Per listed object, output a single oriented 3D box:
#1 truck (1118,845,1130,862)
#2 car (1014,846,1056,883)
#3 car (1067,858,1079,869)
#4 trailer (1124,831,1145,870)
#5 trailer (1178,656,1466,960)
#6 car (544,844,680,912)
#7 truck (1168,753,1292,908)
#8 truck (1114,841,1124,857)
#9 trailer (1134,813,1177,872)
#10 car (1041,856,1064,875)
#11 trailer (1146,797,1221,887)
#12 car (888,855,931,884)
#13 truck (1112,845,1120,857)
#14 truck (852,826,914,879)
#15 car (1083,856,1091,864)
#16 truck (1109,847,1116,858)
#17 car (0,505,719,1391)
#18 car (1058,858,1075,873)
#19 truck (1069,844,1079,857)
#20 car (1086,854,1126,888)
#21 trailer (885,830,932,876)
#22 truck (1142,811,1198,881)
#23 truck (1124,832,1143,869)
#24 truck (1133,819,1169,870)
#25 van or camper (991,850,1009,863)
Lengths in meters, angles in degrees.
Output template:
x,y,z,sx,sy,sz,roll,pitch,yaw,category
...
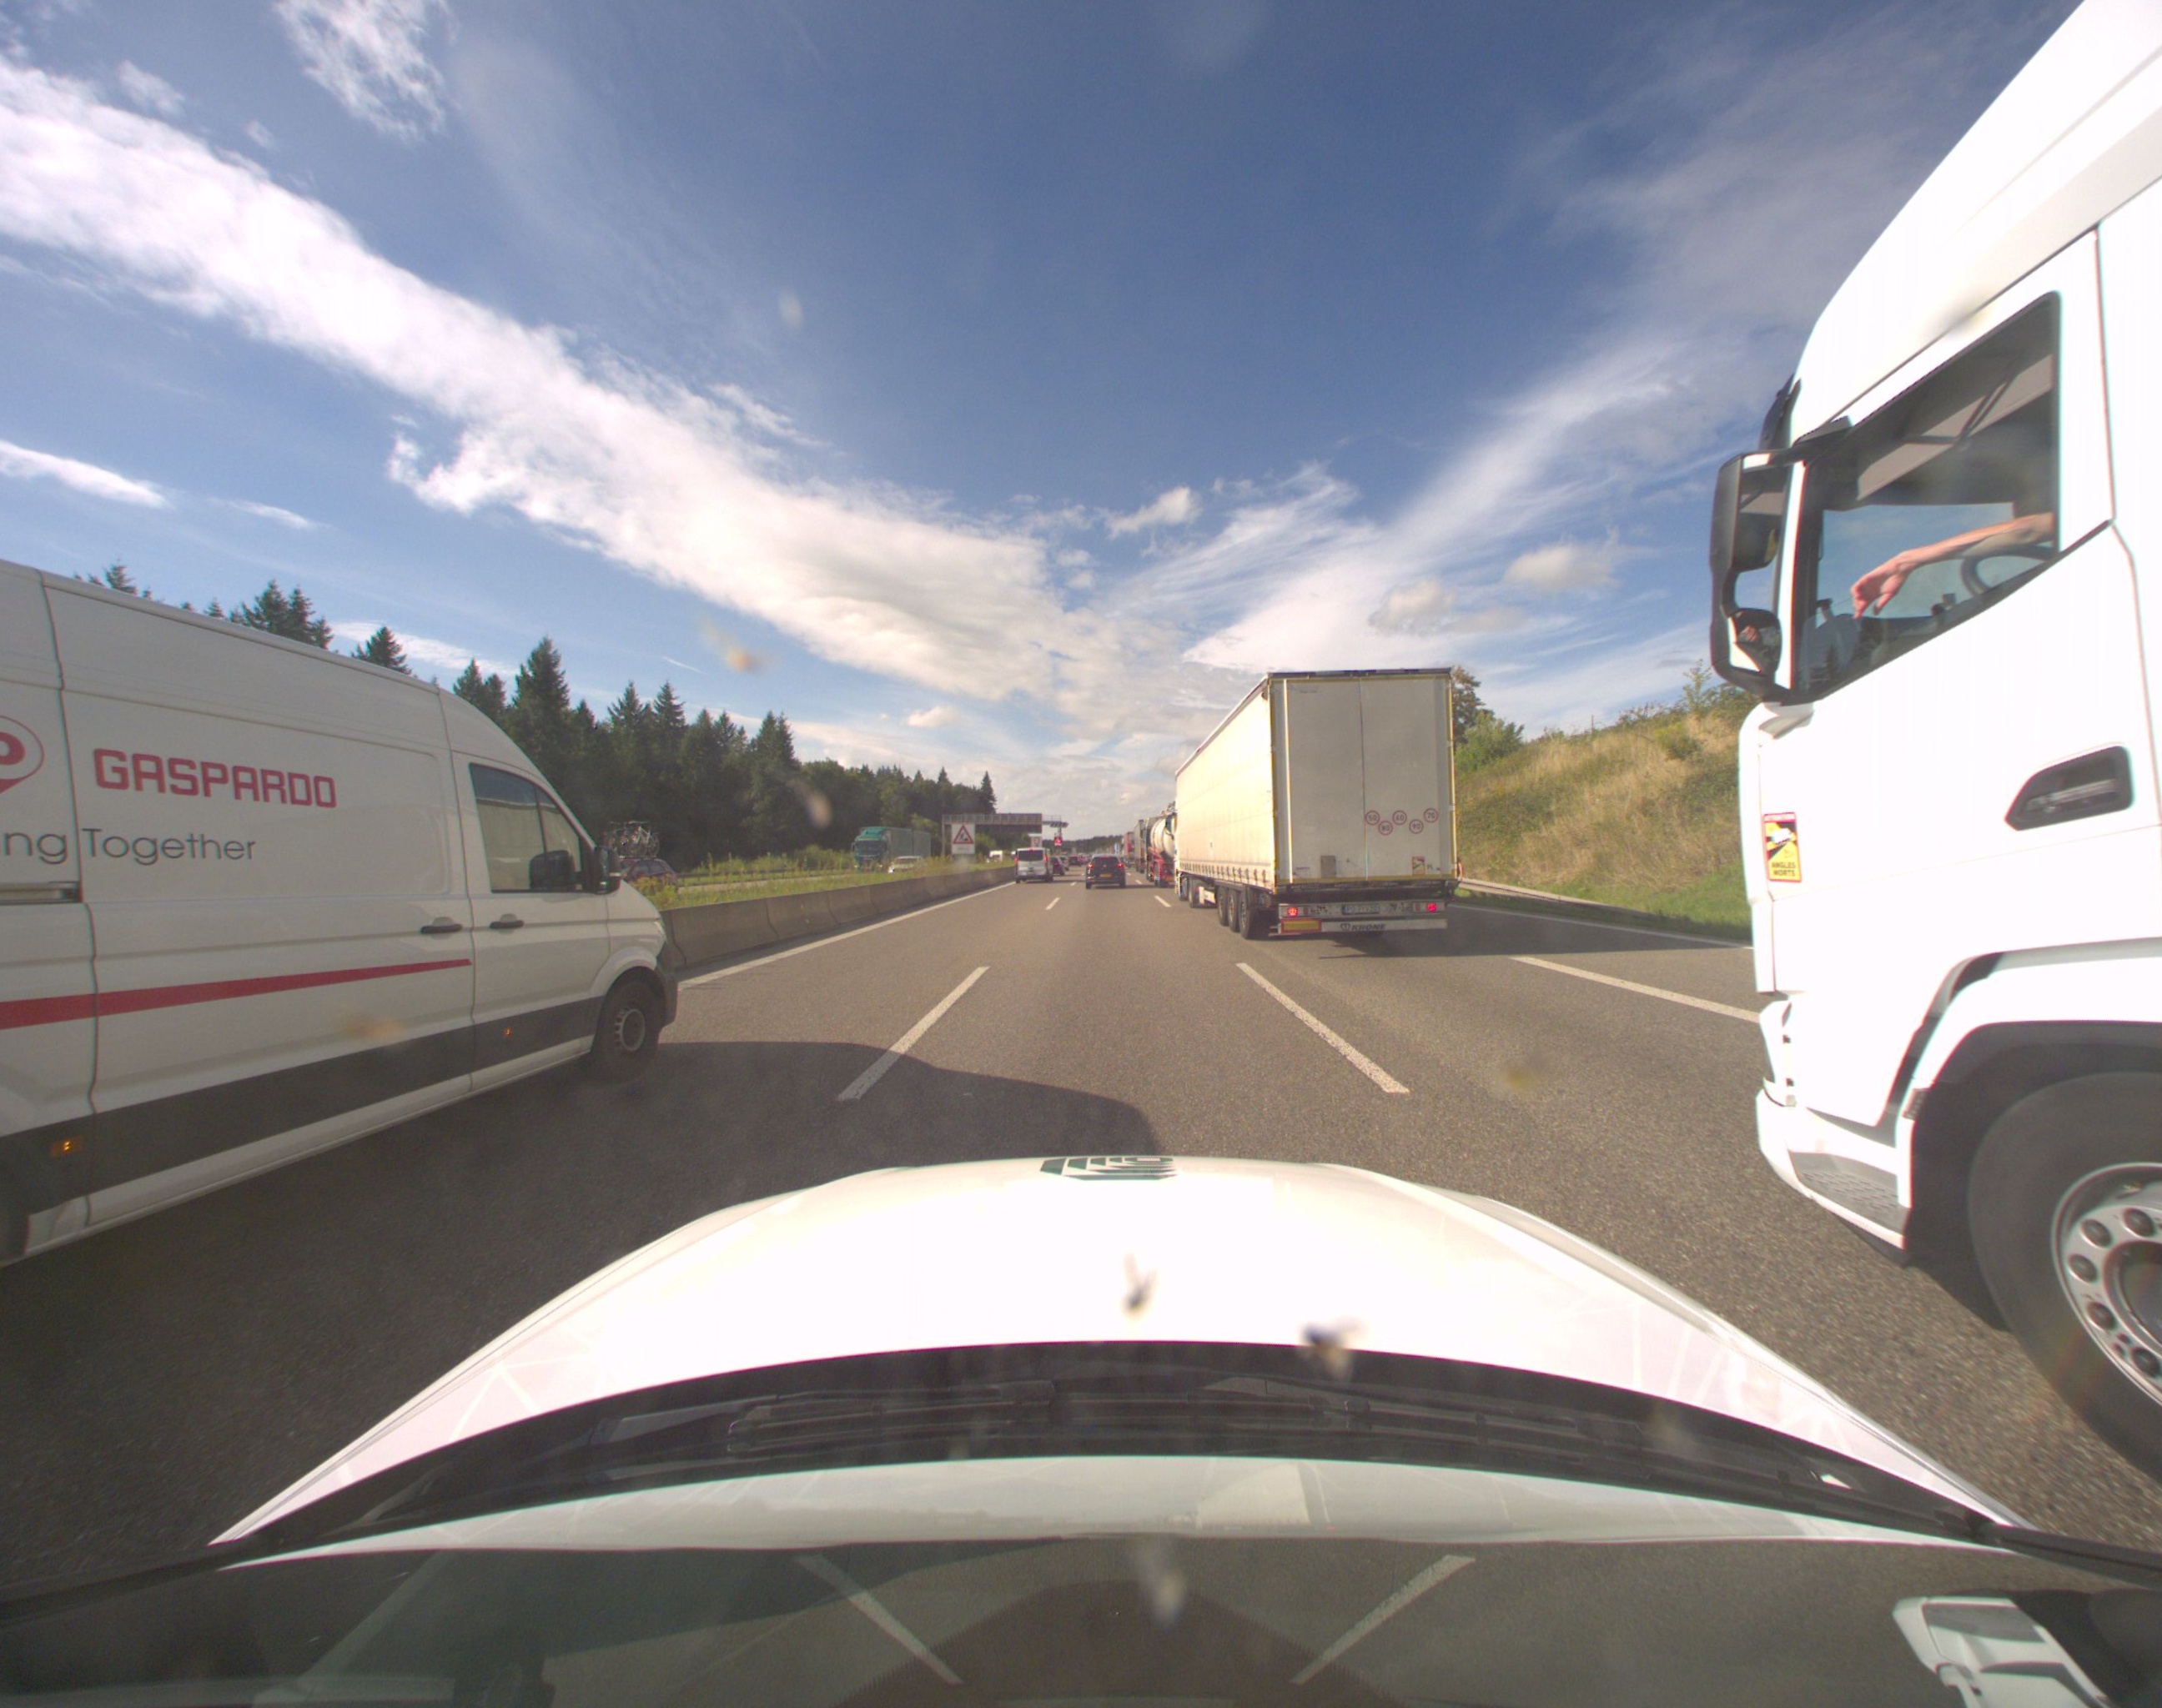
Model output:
x,y,z,sx,sy,sz,roll,pitch,yaw,category
7.520,-0.080,142.691,1.986,2.932,4.984,2,0,2,truck
-2.626,0.581,47.239,1.926,1.979,5.100,2,0,2,car
-1.018,1.252,107.786,1.429,1.310,3.534,2,0,1,car
6.058,-0.338,92.916,2.141,4.259,8.444,-1,-1,2,trailer
4.071,-0.628,17.621,2.692,4.082,12.949,-2,0,2,trailer
-14.483,0.698,25.441,1.753,1.882,4.001,2,0,2,car
4.299,-0.608,24.809,2.698,4.060,6.364,-1,-1,2,truck
7.786,-1.027,168.617,1.986,3.052,4.984,2,0,2,truck
5.828,-0.821,65.225,2.791,4.244,11.063,-2,-1,2,trailer
-2.114,0.854,60.569,1.494,1.396,3.477,0,0,2,car
4.617,-0.462,38.760,2.531,3.654,10.631,-1,0,2,trailer
-10.411,0.909,49.728,1.664,1.624,3.768,2,0,2,car
9.203,-0.740,212.795,1.986,3.052,4.984,2,0,2,truck
-17.189,-0.119,71.487,2.702,4.244,10.345,-1,0,1,truck
1.201,1.102,152.015,1.356,1.301,3.085,2,0,1,car
9.327,-0.416,239.703,1.986,3.052,4.984,2,0,2,truck
-4.146,0.280,3.736,2.008,2.599,6.184,-1,0,1,car
-1.409,1.128,80.000,1.494,1.396,3.477,2,0,2,car
-1.947,-1.036,231.552,2.335,3.594,6.308,2,0,2,truck
1.146,0.741,37.494,1.690,1.483,4.161,-1,0,2,car
-17.026,-0.078,80.968,2.716,4.244,8.553,-1,0,1,trailer
4.854,-0.401,45.357,2.524,3.584,6.732,-1,0,2,truck
6.270,-0.338,98.072,2.125,4.282,6.342,-1,-1,2,truck
6.139,-0.771,72.029,2.775,4.247,6.463,-1,-1,3,truck
-14.727,0.483,148.390,2.450,2.414,5.853,-1,-1,1,van or camper
